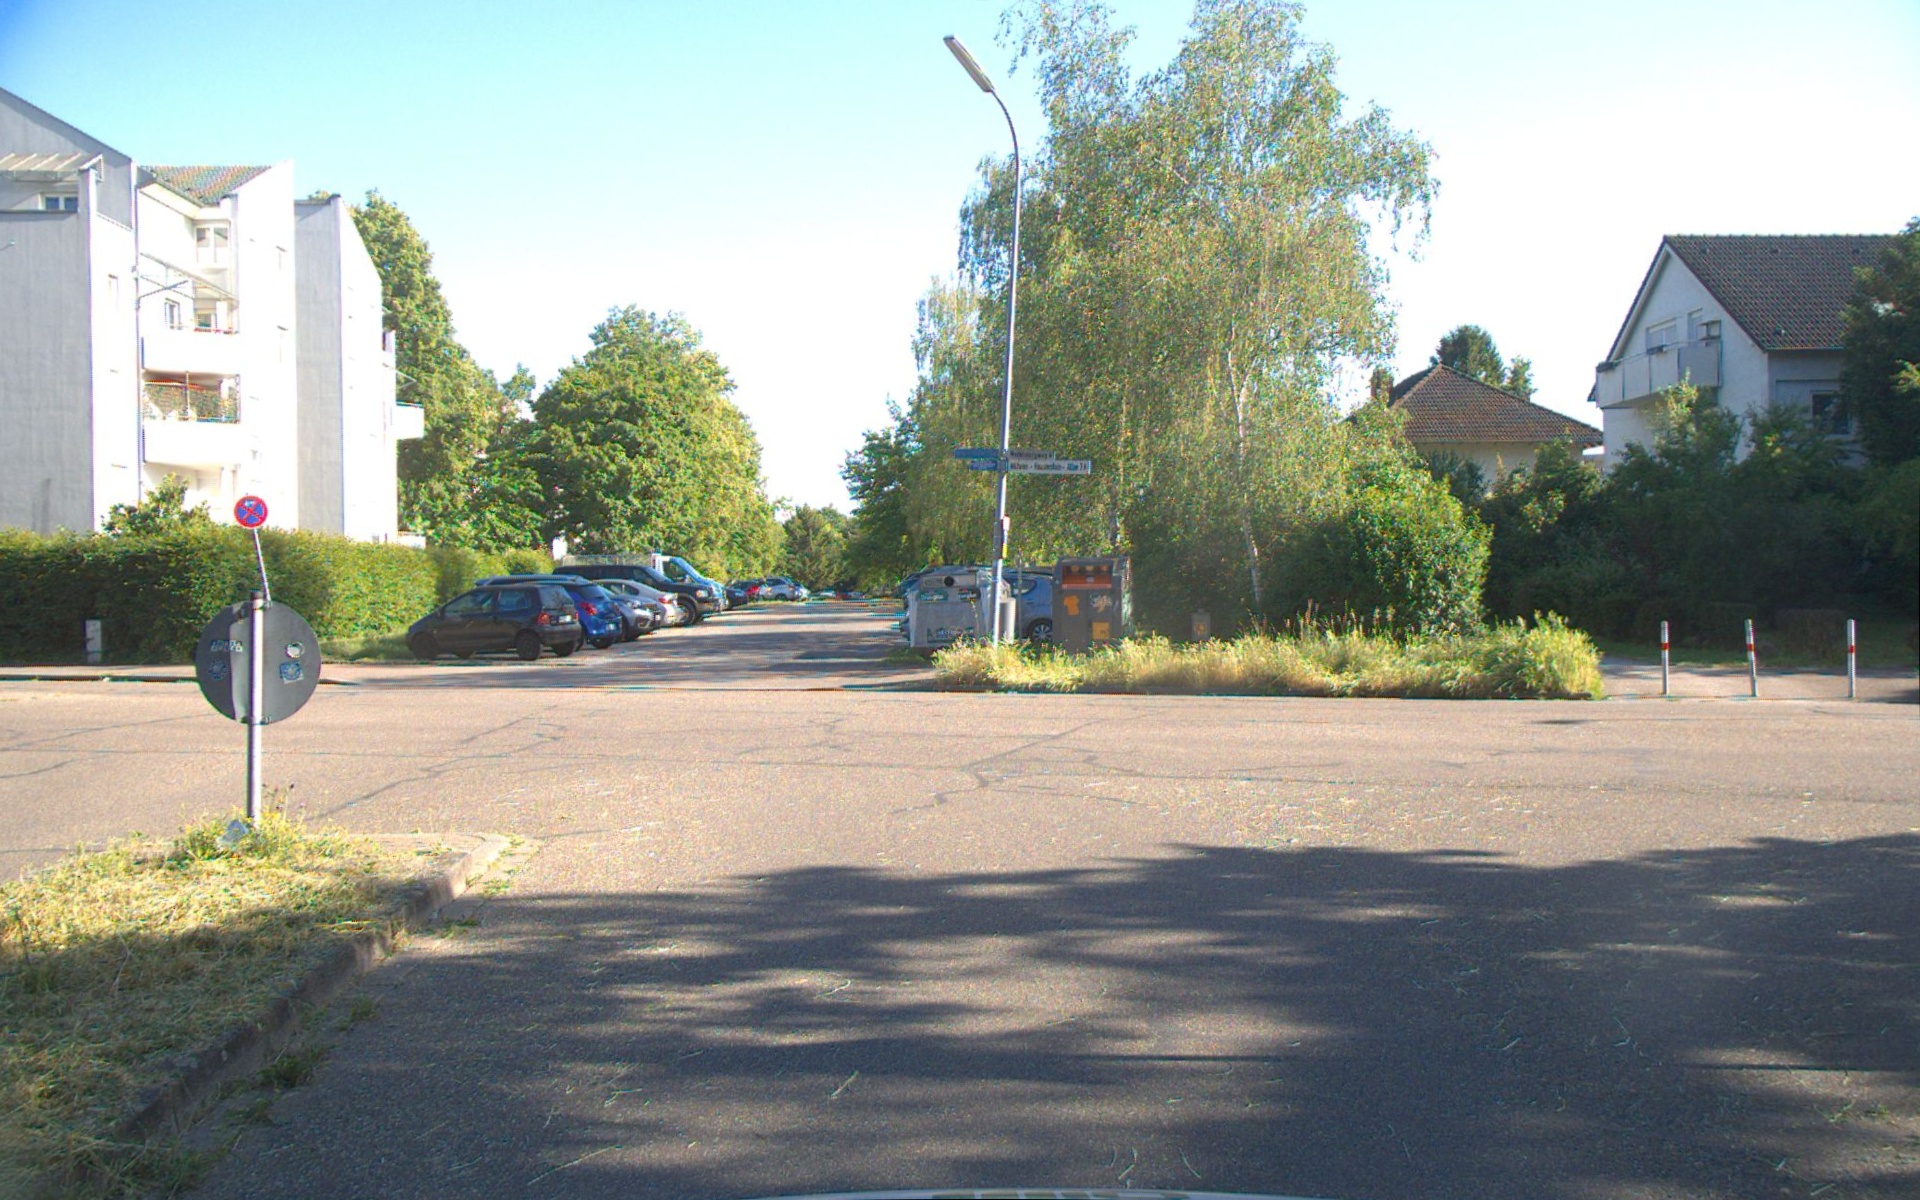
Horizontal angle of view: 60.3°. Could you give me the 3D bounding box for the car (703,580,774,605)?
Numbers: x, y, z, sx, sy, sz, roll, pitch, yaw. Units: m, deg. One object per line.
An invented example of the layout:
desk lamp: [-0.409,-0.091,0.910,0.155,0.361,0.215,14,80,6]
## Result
car: [-12.573,-0.448,94.129,3.861,1.357,1.846,-1,1,-3]

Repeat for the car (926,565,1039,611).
car: [0.794,-0.424,58.303,3.904,1.613,1.798,0,0,1]

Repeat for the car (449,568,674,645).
car: [-9.529,0.141,39.766,4.887,1.683,1.785,-2,1,3]

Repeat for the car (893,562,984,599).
car: [-0.905,-0.853,72.368,3.904,1.613,1.798,0,0,1]

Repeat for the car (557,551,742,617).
car: [-10.909,-0.581,58.539,6.133,2.184,2.409,-1,1,-4]

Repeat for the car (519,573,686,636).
car: [-9.409,0.104,43.766,4.062,1.480,1.618,-2,1,-4]

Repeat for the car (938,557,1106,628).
car: [1.542,-0.208,41.971,4.027,1.735,1.788,0,2,-9]

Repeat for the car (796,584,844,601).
car: [-10.740,-0.585,126.649,3.572,1.233,1.846,-1,1,-3]

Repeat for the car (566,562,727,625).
car: [-9.401,-0.203,49.832,4.428,1.802,1.848,-1,1,3]

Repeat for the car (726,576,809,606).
car: [-9.292,-0.453,80.012,3.861,1.357,1.846,-1,1,-3]

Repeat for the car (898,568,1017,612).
car: [-0.067,-0.330,54.966,3.904,1.425,1.798,0,0,1]

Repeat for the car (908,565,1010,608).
car: [-0.016,-0.521,64.321,3.904,1.613,1.798,0,0,1]

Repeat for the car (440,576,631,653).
car: [-9.156,0.301,35.763,3.601,1.522,1.653,-1,1,11]

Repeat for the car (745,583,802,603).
car: [-13.179,-0.505,117.193,3.861,1.357,1.846,-1,1,-3]

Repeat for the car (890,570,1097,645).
car: [0.707,0.134,33.617,3.966,1.464,1.636,0,1,11]

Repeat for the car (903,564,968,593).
car: [-1.487,-1.280,100.914,3.904,1.738,1.798,0,0,1]

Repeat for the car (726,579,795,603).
car: [-11.756,-0.529,97.516,3.861,1.357,1.846,-1,1,-3]

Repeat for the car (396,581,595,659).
car: [-9.342,0.389,33.340,3.447,1.492,1.705,0,1,15]

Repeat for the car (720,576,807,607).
car: [-9.115,-0.392,76.878,3.861,1.357,1.846,-1,1,-3]

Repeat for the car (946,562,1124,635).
car: [1.739,-0.057,39.154,3.976,1.631,1.788,0,2,-8]

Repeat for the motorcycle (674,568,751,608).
motorcycle: [-10.631,-0.517,71.113,3.126,1.624,0.923,-1,1,-1]
